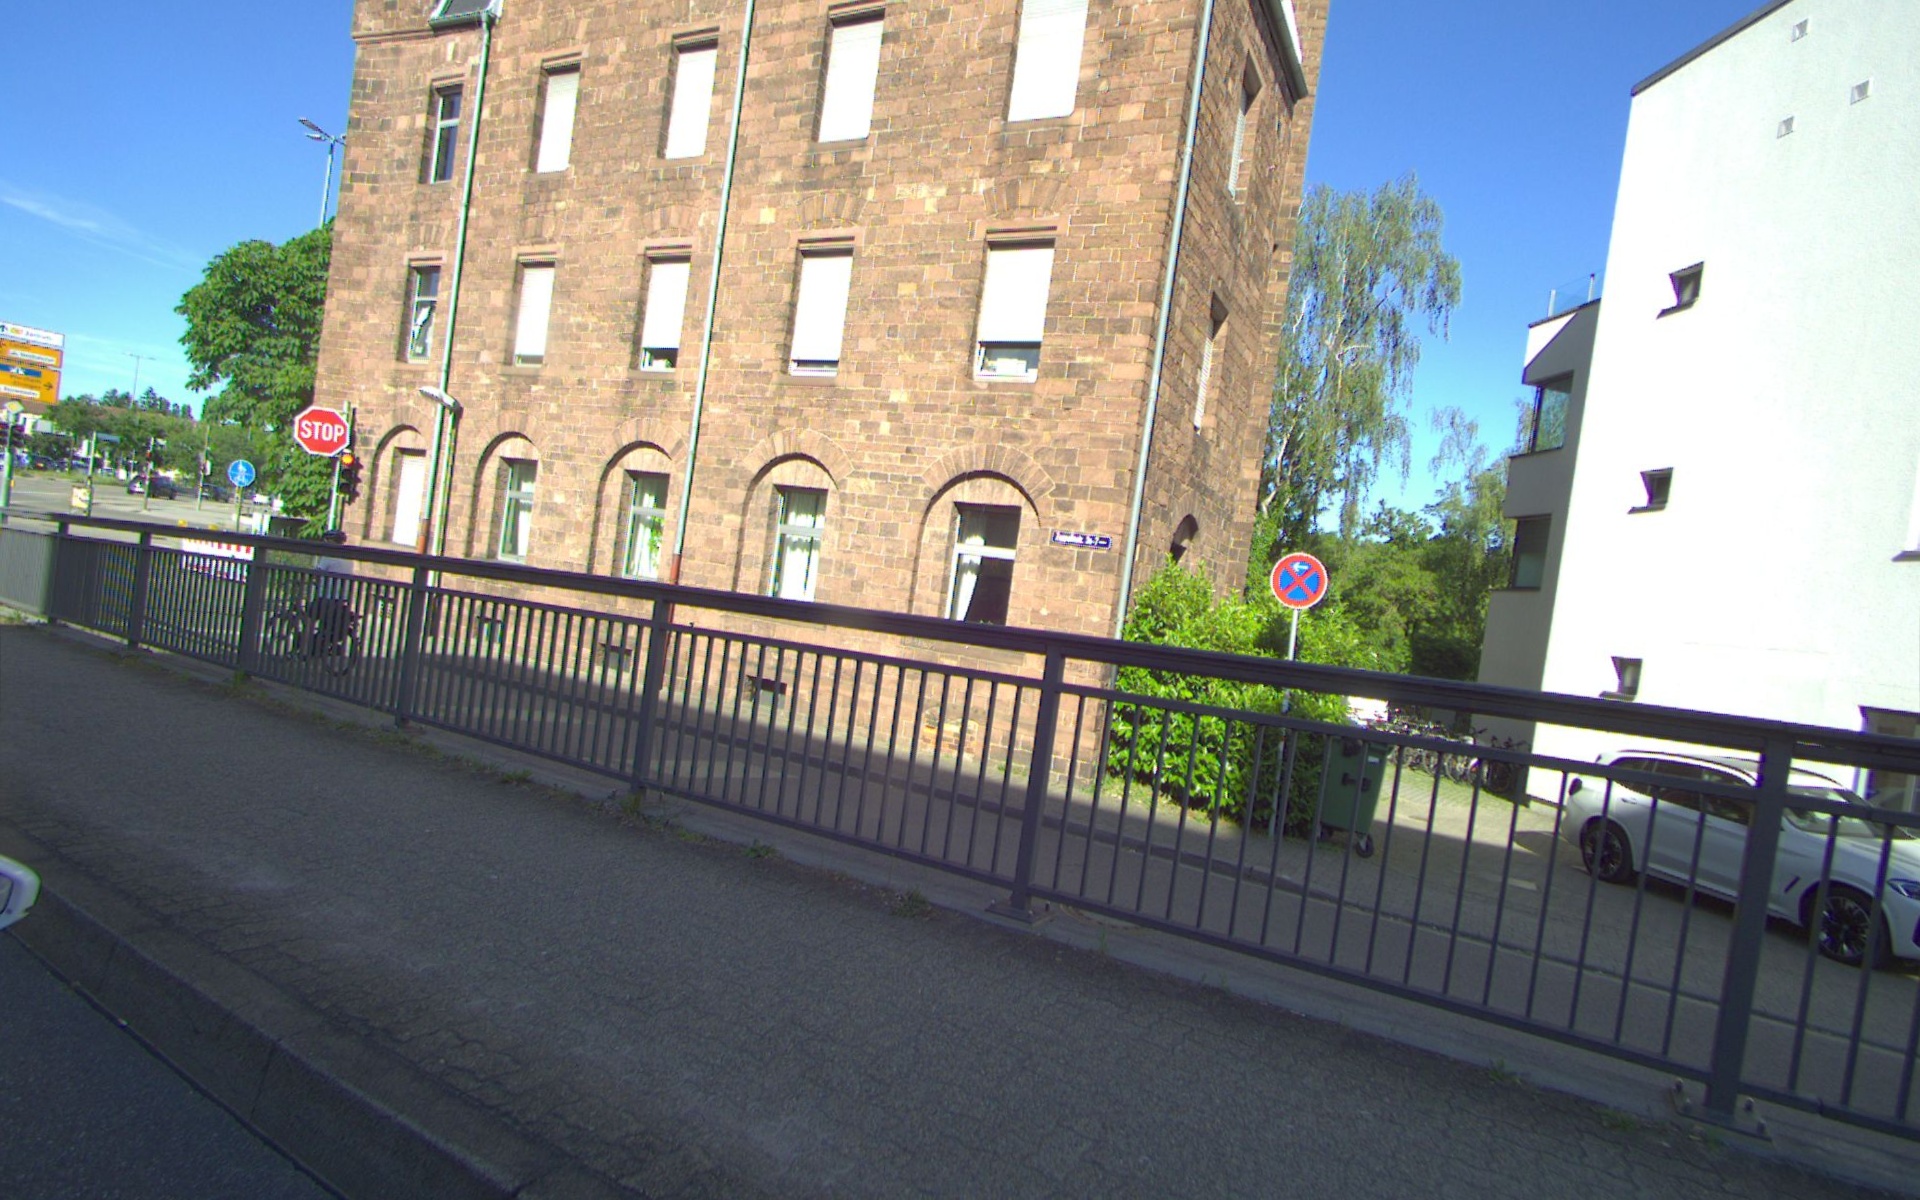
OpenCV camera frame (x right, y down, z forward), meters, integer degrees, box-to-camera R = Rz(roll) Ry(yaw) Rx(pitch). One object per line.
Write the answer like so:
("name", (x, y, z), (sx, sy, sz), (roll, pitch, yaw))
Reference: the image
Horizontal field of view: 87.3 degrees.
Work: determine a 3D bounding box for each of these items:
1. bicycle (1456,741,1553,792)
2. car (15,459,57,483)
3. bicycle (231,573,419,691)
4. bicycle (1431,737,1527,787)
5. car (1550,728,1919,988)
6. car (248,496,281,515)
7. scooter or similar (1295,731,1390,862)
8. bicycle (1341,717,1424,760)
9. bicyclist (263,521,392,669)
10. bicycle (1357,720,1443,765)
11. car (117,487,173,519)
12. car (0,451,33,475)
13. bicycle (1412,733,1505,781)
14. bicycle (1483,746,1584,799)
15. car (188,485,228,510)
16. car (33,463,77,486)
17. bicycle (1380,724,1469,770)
("bicycle", (11.438, 3.495, 21.126), (2.021, 0.897, 0.493), (6, 1, -19))
("car", (-80.969, -11.308, 88.213), (1.710, 1.602, 3.972), (8, 1, -29))
("bicycle", (-8.171, 0.399, 12.919), (2.359, 1.124, 0.802), (9, 0, 26))
("bicycle", (11.214, 3.498, 21.733), (2.021, 0.897, 0.493), (6, 1, -19))
("car", (9.121, 2.669, 11.126), (1.797, 1.788, 4.644), (7, -2, -9))
("car", (-75.782, -10.304, 109.682), (1.973, 1.660, 3.978), (7, 1, -21))
("scooter or similar", (4.393, 2.186, 11.491), (0.771, 1.232, 1.463), (9, -2, 24))
("bicycle", (10.526, 3.458, 25.039), (2.021, 0.897, 0.493), (6, 1, -19))
("bicyclist", (-8.112, -0.058, 12.916), (1.066, 1.726, 0.801), (8, 1, 26))
("bicycle", (10.629, 3.441, 24.285), (2.021, 0.897, 0.493), (6, 1, -19))
("car", (-61.906, -7.354, 76.459), (1.973, 1.814, 3.983), (8, -2, -21))
("car", (-77.546, -11.192, 81.989), (1.806, 1.602, 4.072), (8, 1, -29))
("bicycle", (11.039, 3.484, 22.278), (2.021, 0.897, 0.493), (6, 1, -19))
("bicycle", (11.612, 3.502, 20.369), (2.021, 0.897, 0.493), (6, 1, -19))
("car", (-69.671, -9.465, 93.250), (1.975, 1.816, 3.975), (7, 1, -25))
("car", (-85.432, -11.864, 95.018), (1.977, 1.470, 3.974), (9, -2, -27))
("bicycle", (10.785, 3.420, 23.345), (2.021, 0.897, 0.493), (6, 1, -19))
